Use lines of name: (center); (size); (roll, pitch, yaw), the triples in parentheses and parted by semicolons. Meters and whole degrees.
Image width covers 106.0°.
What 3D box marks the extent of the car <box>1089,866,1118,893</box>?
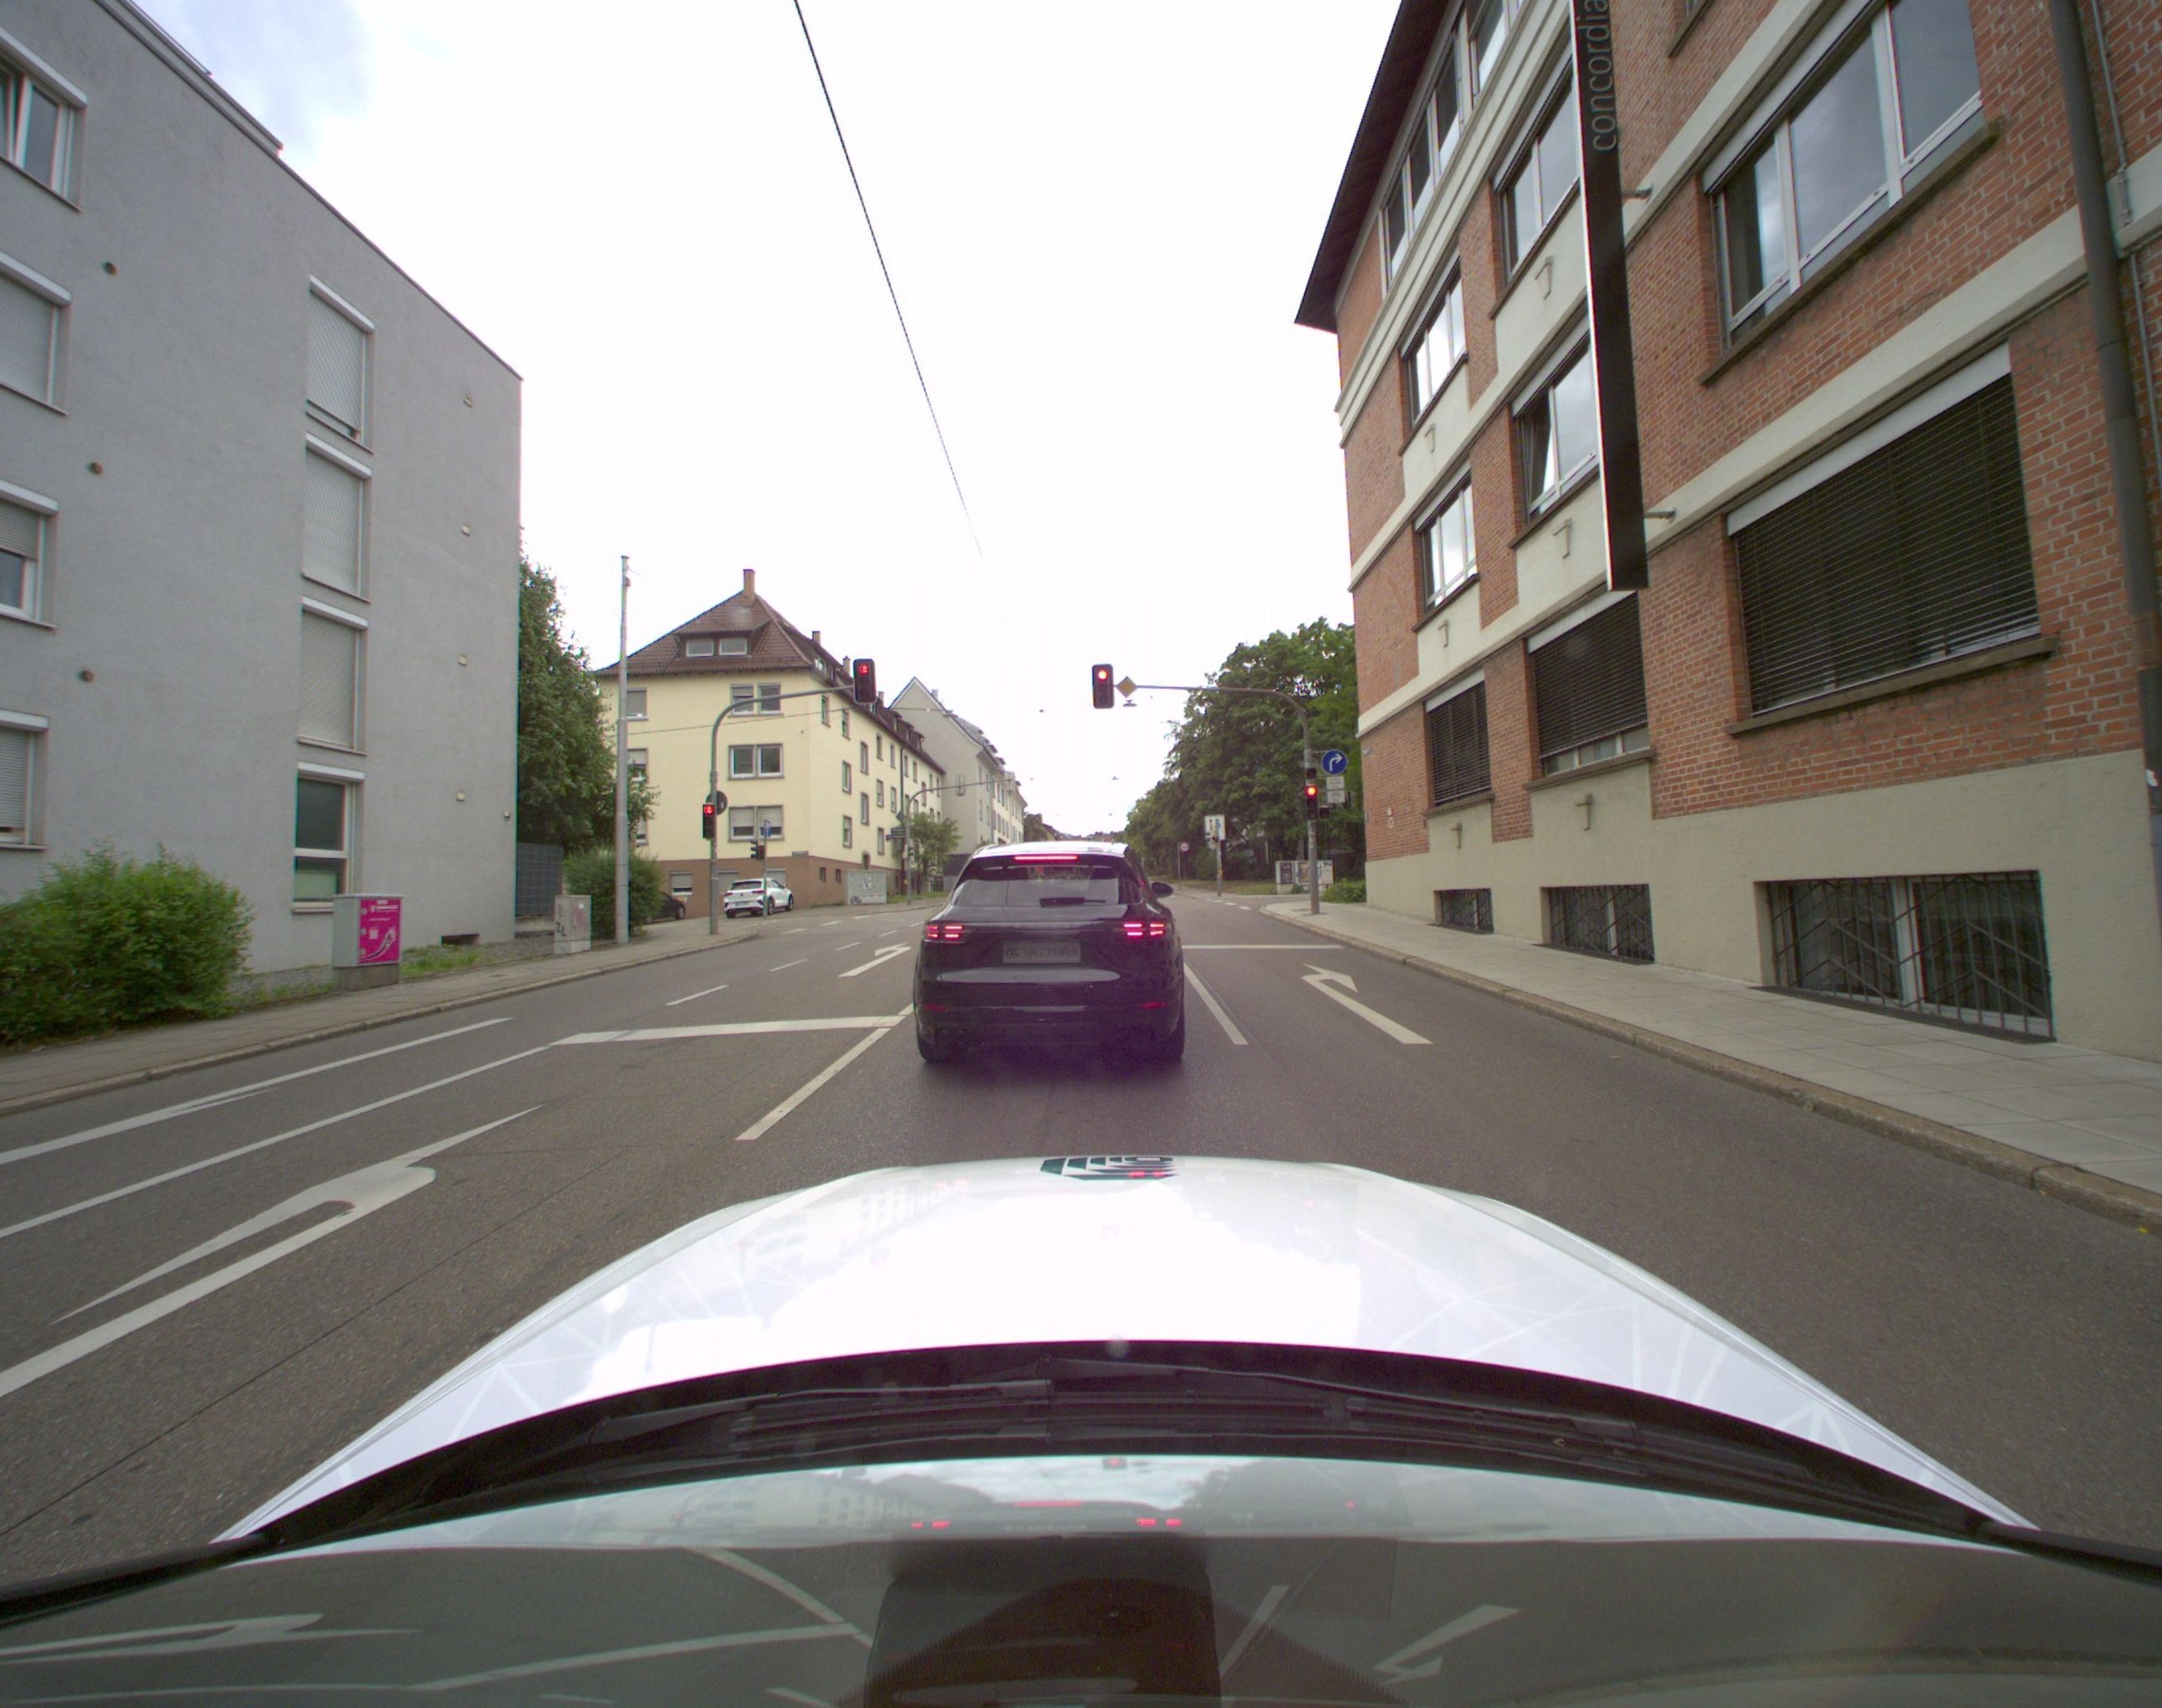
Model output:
car: (1.463, 1.641, 52.653); (1.820, 1.605, 3.860); (0, 0, 2)

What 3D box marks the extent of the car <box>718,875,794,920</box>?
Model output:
car: (-13.536, 1.764, 34.146); (1.686, 1.555, 3.763); (-4, 0, -2)

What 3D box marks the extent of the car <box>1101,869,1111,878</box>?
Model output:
car: (5.031, 3.872, 163.380); (1.820, 1.605, 4.137); (0, 0, 2)

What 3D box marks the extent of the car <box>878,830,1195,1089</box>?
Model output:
car: (-0.211, 0.683, 7.386); (2.040, 1.666, 4.269); (0, 0, 2)

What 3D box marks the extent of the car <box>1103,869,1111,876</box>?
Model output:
car: (5.868, 4.102, 182.546); (1.820, 1.605, 4.137); (0, 0, 2)

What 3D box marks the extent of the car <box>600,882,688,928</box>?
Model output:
car: (-18.502, 2.127, 34.655); (1.686, 1.608, 3.763); (-4, 0, -2)

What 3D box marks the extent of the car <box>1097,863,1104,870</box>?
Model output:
car: (5.079, 3.237, 210.391); (1.820, 1.605, 4.137); (0, 0, 2)

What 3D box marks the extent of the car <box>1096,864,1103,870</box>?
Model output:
car: (4.660, 3.263, 203.069); (1.820, 1.605, 4.137); (0, 0, 2)

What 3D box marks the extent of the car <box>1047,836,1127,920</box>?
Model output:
car: (0.222, 0.596, 22.036); (1.957, 2.042, 4.137); (0, 0, 2)

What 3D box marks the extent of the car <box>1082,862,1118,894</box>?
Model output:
car: (1.048, 1.264, 43.945); (1.820, 1.605, 4.137); (0, 0, 2)
